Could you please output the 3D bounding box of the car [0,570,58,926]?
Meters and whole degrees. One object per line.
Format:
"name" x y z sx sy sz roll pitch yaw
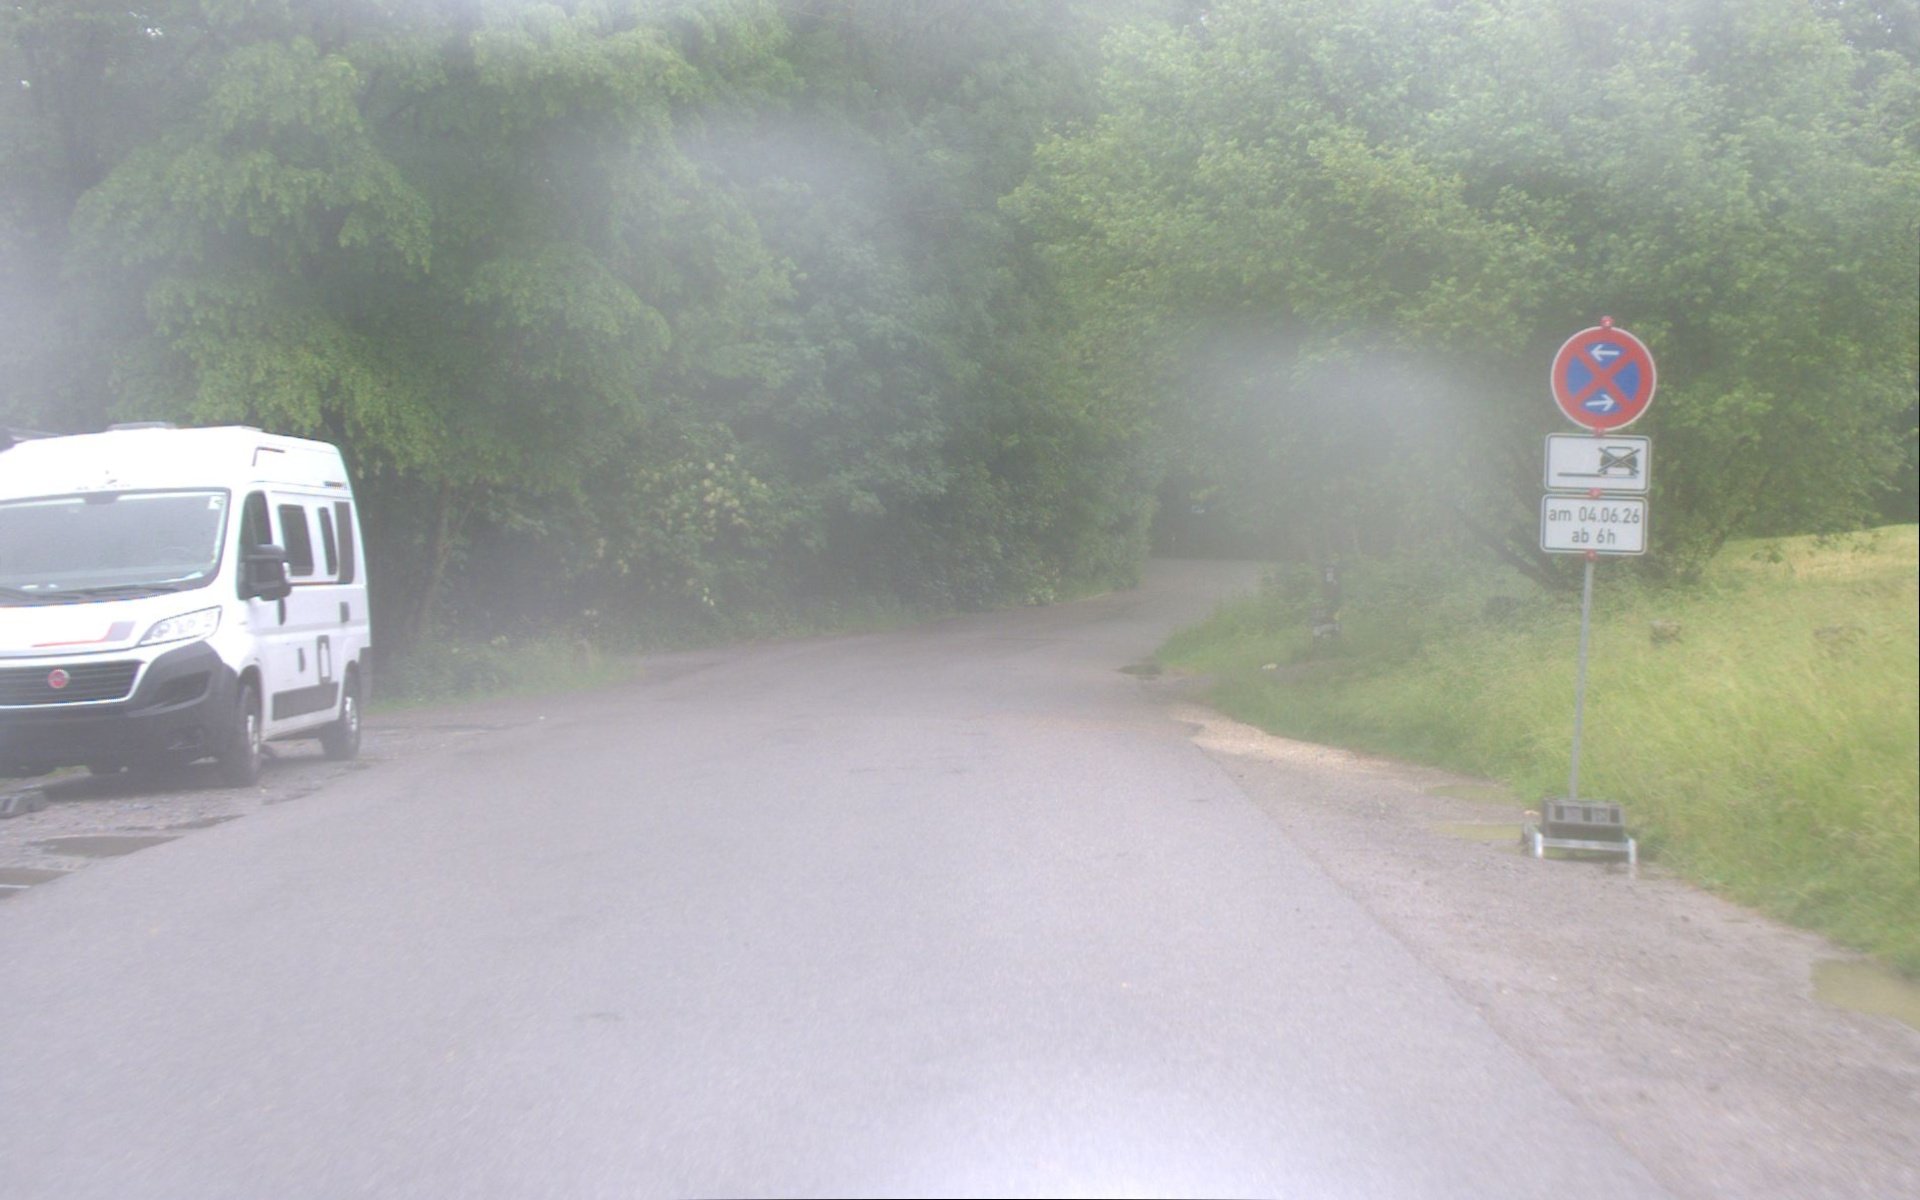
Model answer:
"car" -5.322 0.772 14.377 1.861 1.590 4.495 -3 2 0

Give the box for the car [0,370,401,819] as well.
"car" -5.635 -0.117 24.287 2.272 2.687 6.050 -4 2 0
